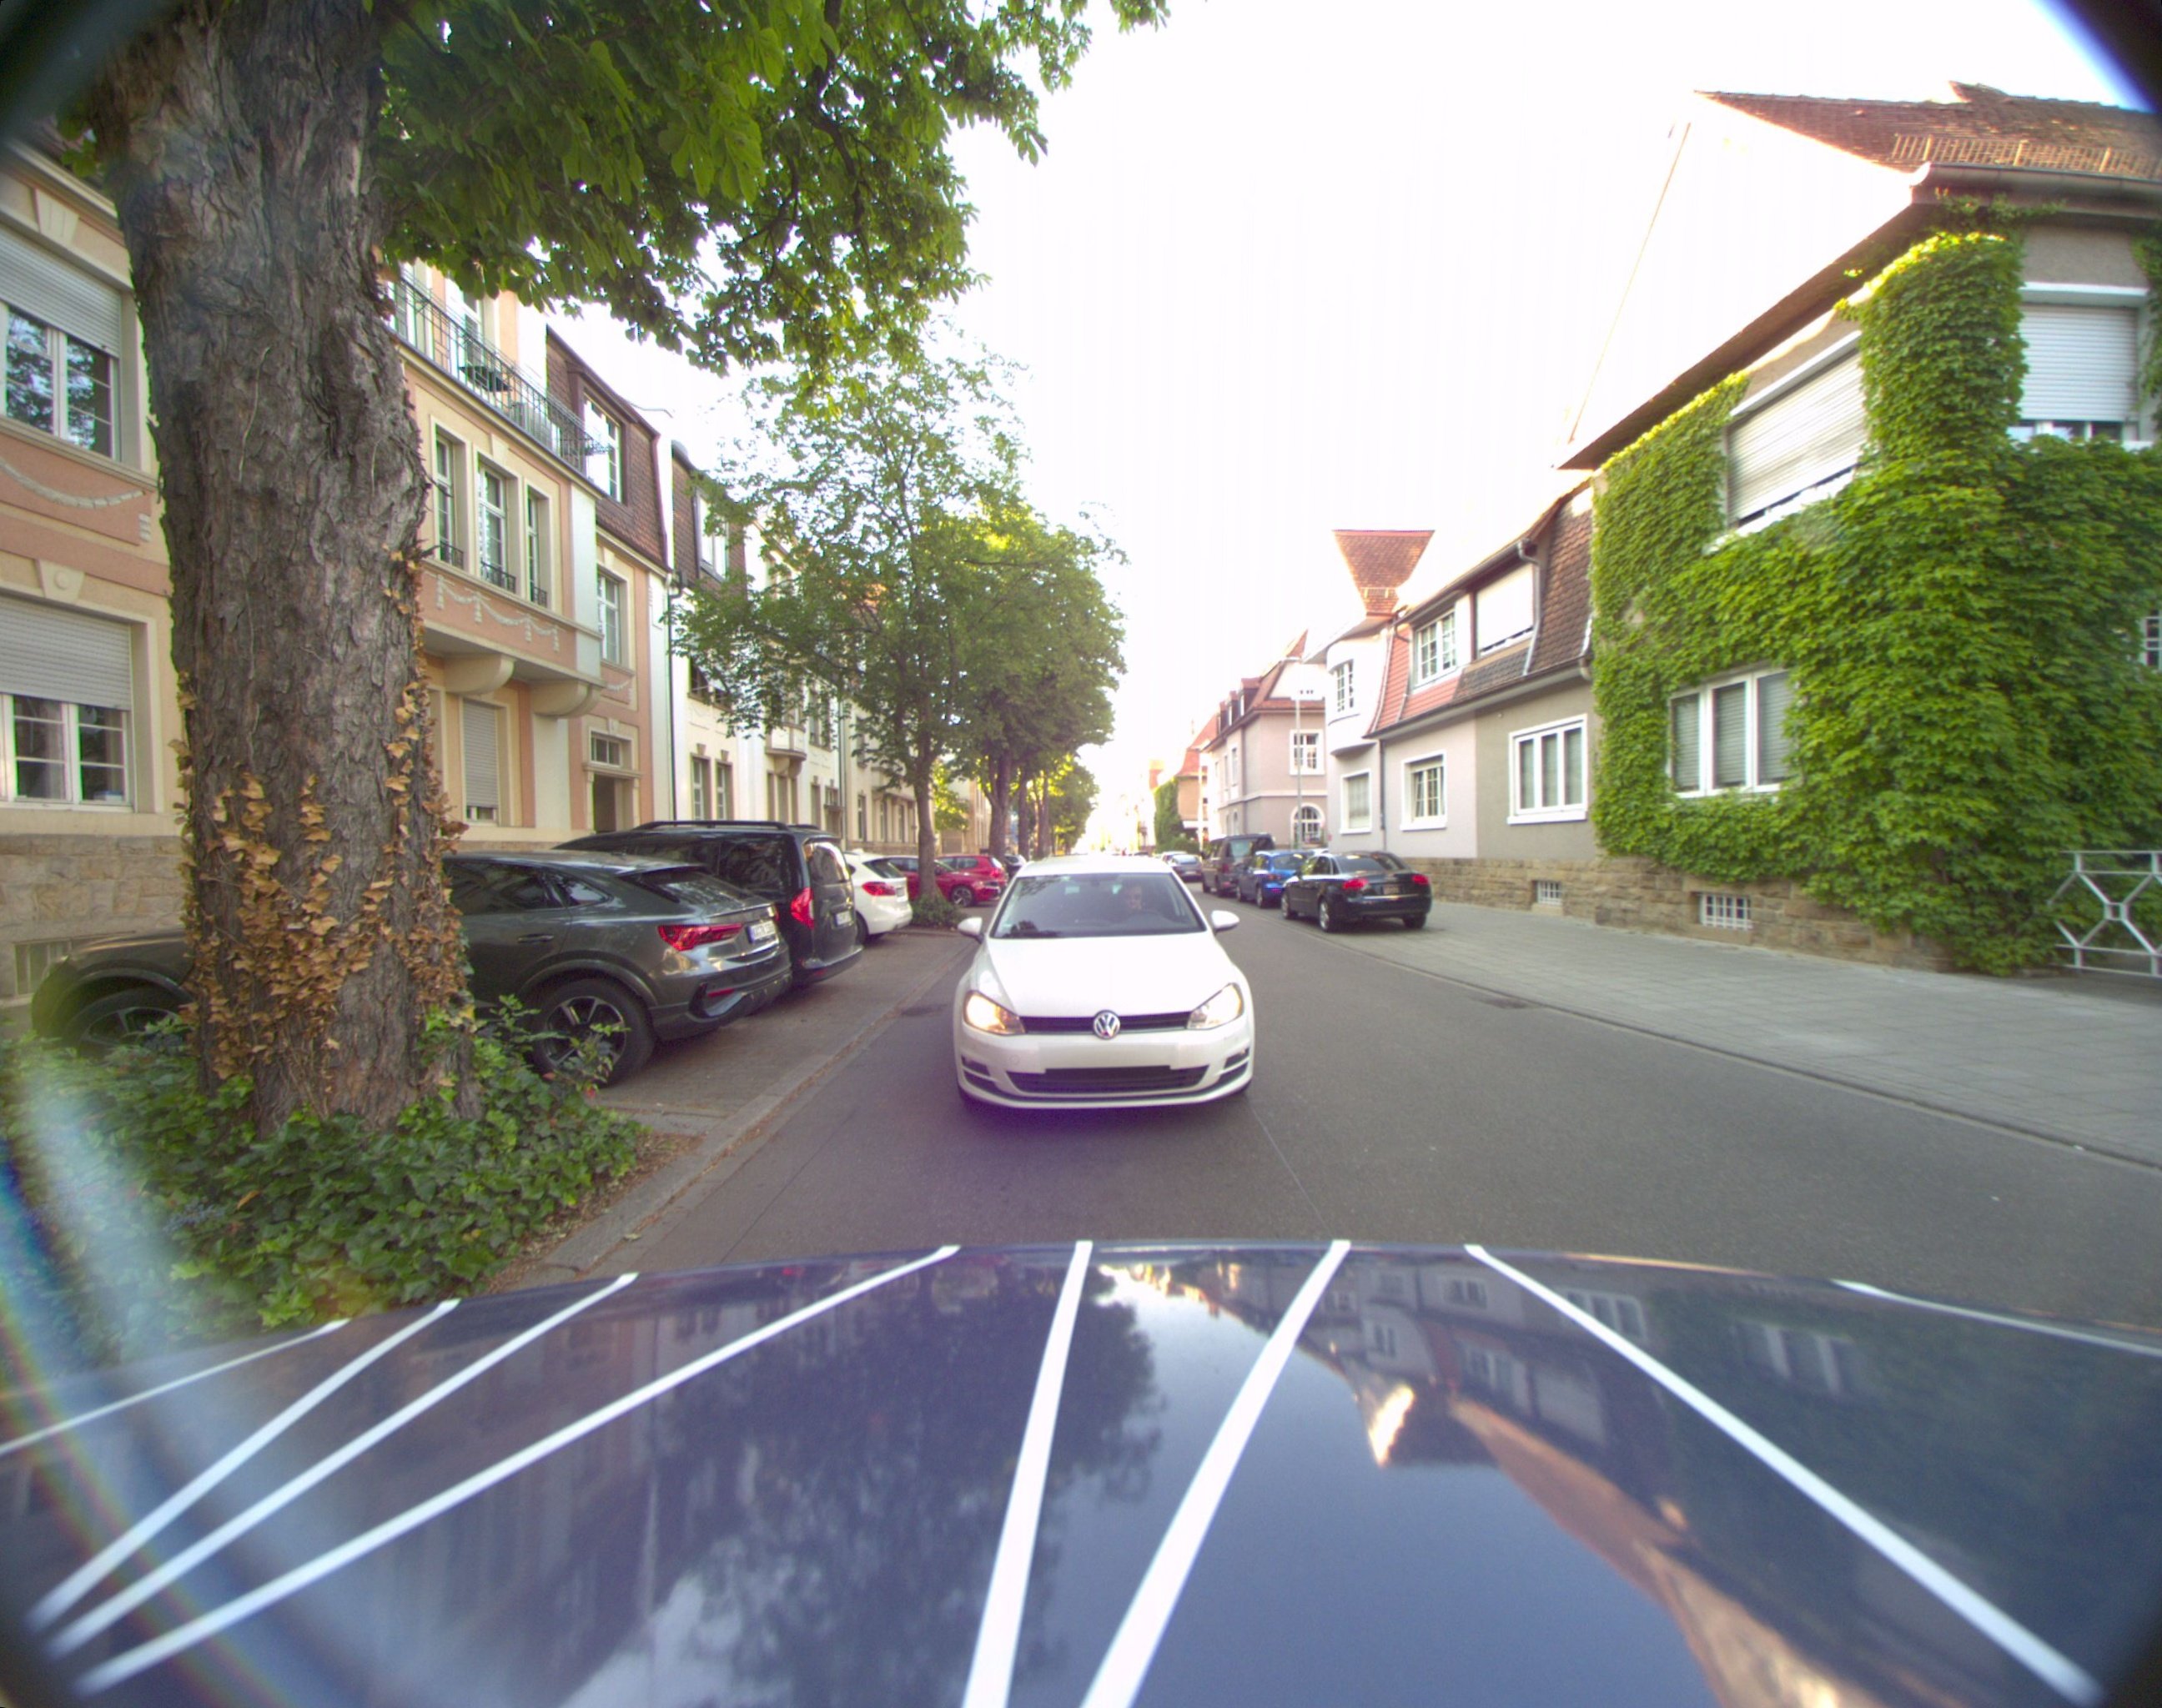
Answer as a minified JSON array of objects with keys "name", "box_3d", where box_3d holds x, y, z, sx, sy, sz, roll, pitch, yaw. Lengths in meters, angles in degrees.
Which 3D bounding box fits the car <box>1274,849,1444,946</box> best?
[{"name":"car","box_3d":[5.054,0.702,14.431,1.751,1.421,4.023,-4,1,1]}]

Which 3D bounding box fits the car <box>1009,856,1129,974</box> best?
[{"name":"car","box_3d":[-0.137,0.834,12.313,1.600,1.546,4.000,1,0,1]}]

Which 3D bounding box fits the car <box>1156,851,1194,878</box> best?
[{"name":"car","box_3d":[5.162,0.533,42.165,1.541,1.363,3.945,-3,0,0]}]

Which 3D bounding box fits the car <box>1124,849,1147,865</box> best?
[{"name":"car","box_3d":[5.405,0.256,75.484,1.643,1.461,3.688,-3,0,-4]}]

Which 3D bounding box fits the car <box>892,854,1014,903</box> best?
[{"name":"car","box_3d":[-4.044,0.761,24.339,3.622,1.456,1.537,1,1,0]}]

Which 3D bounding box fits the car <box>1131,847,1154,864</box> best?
[{"name":"car","box_3d":[5.491,0.129,68.249,1.643,1.461,3.945,-3,0,0]}]

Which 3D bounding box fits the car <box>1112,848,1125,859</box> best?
[{"name":"car","box_3d":[5.694,-0.081,115.786,1.643,1.461,3.689,-3,0,0]}]

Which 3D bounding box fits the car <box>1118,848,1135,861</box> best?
[{"name":"car","box_3d":[5.429,0.026,91.182,1.643,1.461,3.689,-3,0,-1]}]

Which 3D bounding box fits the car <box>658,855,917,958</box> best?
[{"name":"car","box_3d":[-4.631,0.811,12.379,3.623,1.541,1.537,1,1,-4]}]

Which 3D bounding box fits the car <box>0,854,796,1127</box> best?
[{"name":"car","box_3d":[-4.410,0.827,5.410,4.173,1.583,1.594,1,1,-4]}]

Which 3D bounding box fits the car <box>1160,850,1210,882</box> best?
[{"name":"car","box_3d":[4.982,0.549,36.843,1.719,1.363,4.334,-3,0,0]}]

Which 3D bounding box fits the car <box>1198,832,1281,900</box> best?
[{"name":"car","box_3d":[5.135,0.327,25.230,1.719,1.961,4.310,-4,1,0]}]

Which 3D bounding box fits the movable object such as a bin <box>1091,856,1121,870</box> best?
[{"name":"movable object such as a bin","box_3d":[1.783,0.632,54.628,1.945,0.943,1.432,1,0,-7]}]

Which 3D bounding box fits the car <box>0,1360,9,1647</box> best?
[{"name":"car","box_3d":[-4.665,0.792,0.515,4.835,1.814,1.880,1,1,-4]}]

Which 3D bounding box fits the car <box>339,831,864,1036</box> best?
[{"name":"car","box_3d":[-4.480,0.708,7.624,4.173,1.816,1.594,1,1,-4]}]

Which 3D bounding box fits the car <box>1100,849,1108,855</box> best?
[{"name":"car","box_3d":[5.157,-0.477,173.339,1.643,1.461,3.689,-3,0,0]}]

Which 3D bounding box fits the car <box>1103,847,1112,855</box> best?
[{"name":"car","box_3d":[5.241,-0.551,149.418,1.643,1.461,3.689,-3,0,0]}]

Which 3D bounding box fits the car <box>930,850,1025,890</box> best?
[{"name":"car","box_3d":[-4.172,0.633,30.943,3.622,1.555,1.537,0,1,0]}]

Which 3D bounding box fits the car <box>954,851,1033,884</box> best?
[{"name":"car","box_3d":[-4.200,0.638,36.858,3.622,1.555,1.537,0,1,0]}]

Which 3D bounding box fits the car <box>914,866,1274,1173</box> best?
[{"name":"car","box_3d":[0.030,0.884,5.925,1.799,1.420,4.023,-2,0,-1]}]

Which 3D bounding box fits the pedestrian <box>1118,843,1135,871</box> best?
[{"name":"pedestrian","box_3d":[3.300,0.194,55.031,1.188,2.002,0.931,1,1,2]}]

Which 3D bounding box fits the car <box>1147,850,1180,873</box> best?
[{"name":"car","box_3d":[5.446,0.466,50.572,1.719,1.363,3.945,-3,0,0]}]

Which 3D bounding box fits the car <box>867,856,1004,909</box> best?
[{"name":"car","box_3d":[-4.104,0.788,21.755,3.622,1.395,1.537,1,1,0]}]

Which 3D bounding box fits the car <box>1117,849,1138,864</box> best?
[{"name":"car","box_3d":[4.940,0.231,80.897,1.643,1.461,3.688,-3,0,-4]}]

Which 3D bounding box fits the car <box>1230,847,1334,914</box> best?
[{"name":"car","box_3d":[5.253,0.624,20.341,1.611,1.455,4.023,-4,1,0]}]

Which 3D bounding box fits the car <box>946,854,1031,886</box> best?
[{"name":"car","box_3d":[-4.138,0.718,34.228,3.622,1.395,1.537,0,1,0]}]

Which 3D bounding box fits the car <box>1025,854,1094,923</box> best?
[{"name":"car","box_3d":[-0.466,0.798,19.385,1.560,1.546,3.738,1,0,1]}]
